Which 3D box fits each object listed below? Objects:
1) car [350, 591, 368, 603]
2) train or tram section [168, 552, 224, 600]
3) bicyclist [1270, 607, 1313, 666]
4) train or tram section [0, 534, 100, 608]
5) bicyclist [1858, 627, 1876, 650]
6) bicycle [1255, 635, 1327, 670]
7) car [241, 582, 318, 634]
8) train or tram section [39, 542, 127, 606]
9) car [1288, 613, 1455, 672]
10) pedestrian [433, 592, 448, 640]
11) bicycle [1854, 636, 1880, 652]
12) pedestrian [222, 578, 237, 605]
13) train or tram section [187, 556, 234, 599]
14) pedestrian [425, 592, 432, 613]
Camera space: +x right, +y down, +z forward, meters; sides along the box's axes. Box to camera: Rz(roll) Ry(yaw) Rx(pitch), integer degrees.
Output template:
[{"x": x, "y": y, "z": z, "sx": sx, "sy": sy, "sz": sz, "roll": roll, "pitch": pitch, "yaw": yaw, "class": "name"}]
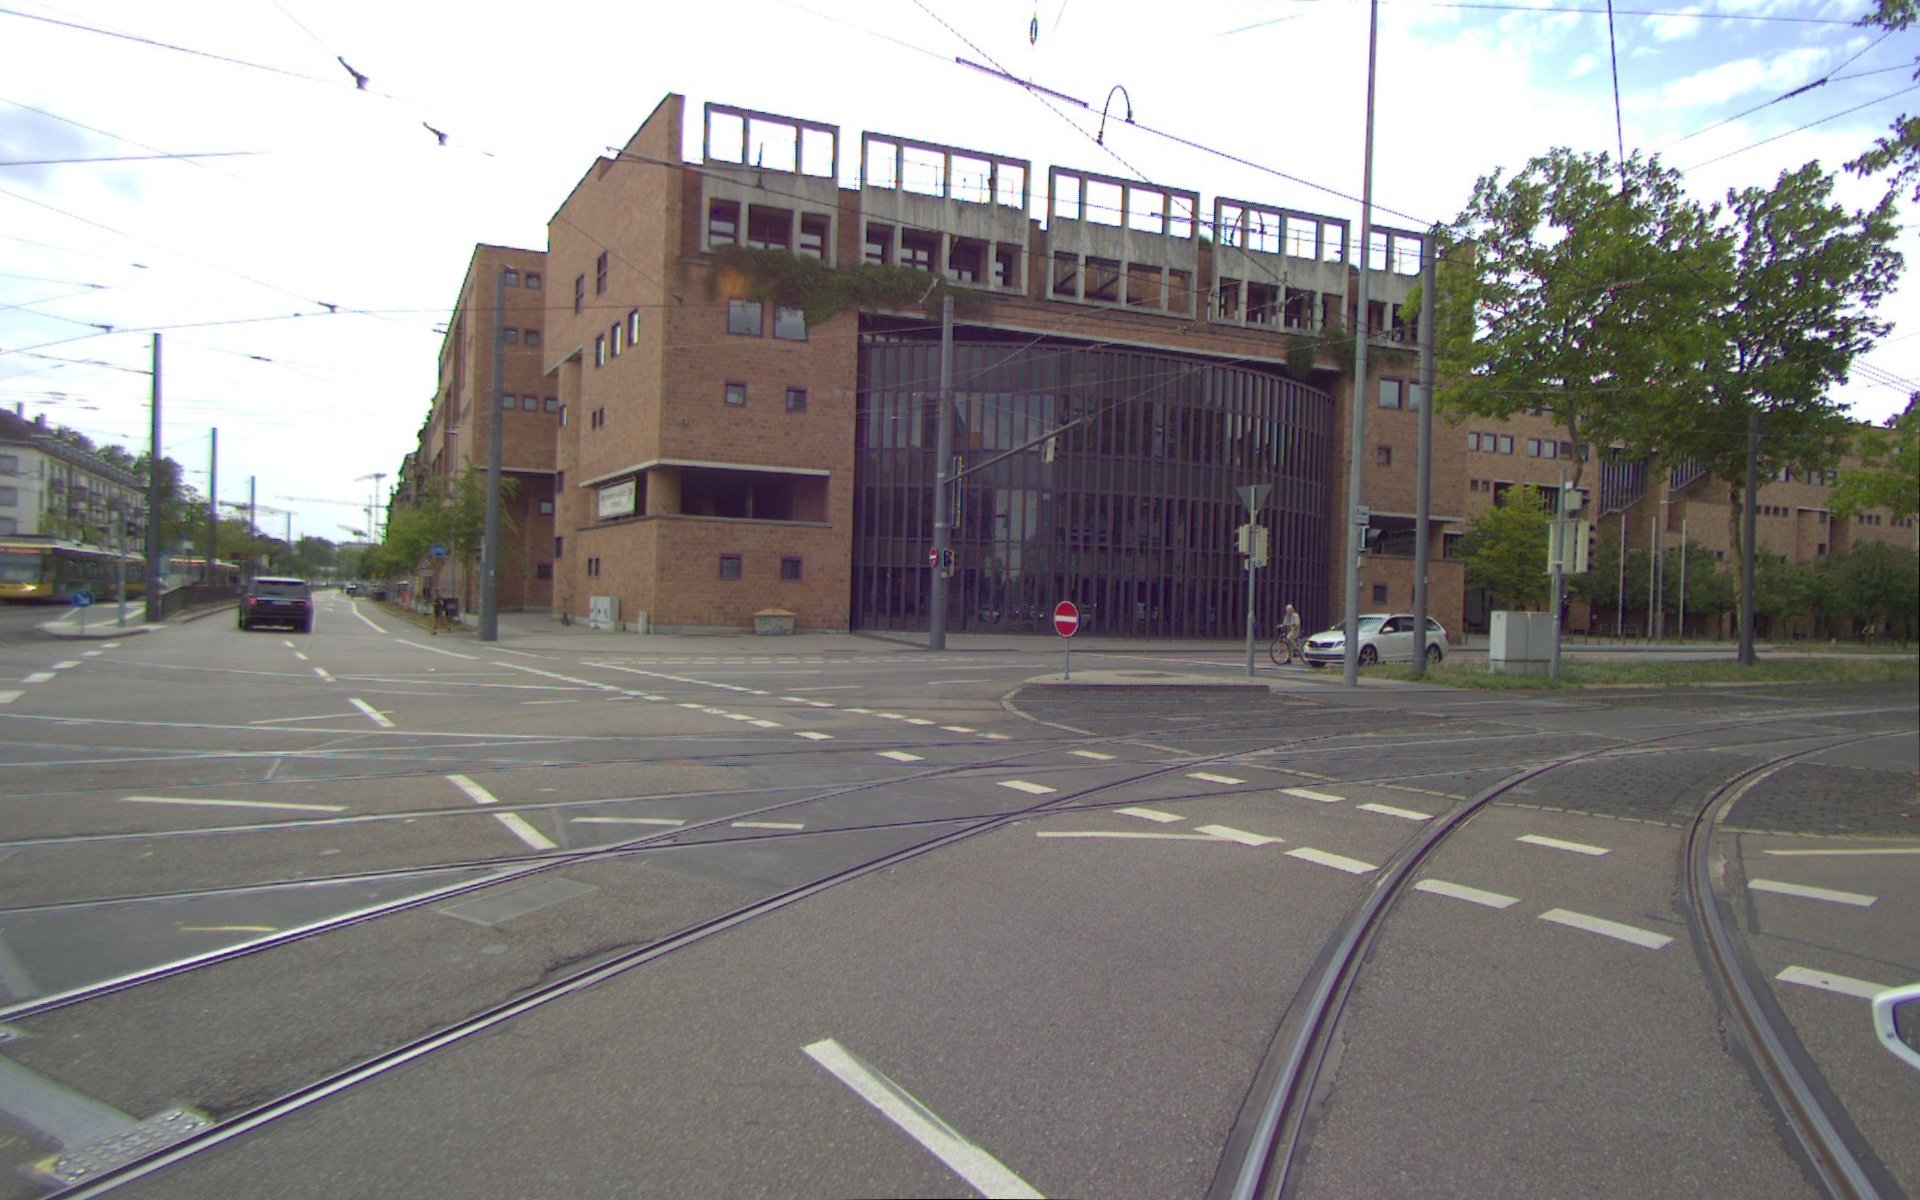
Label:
[{"x": -69.030, "y": -0.340, "z": 115.452, "sx": 1.676, "sy": 1.311, "sz": 3.967, "roll": 2, "pitch": 0, "yaw": -31, "class": "car"}, {"x": -60.677, "y": -1.830, "z": 79.913, "sx": 2.424, "sy": 3.497, "sz": 9.528, "roll": 1, "pitch": 0, "yaw": -31, "class": "train or tram section"}, {"x": 9.344, "y": 1.018, "z": 28.310, "sx": 0.891, "sy": 1.631, "sz": 0.719, "roll": 1, "pitch": 0, "yaw": -30, "class": "bicyclist"}, {"x": -47.628, "y": -1.396, "z": 52.389, "sx": 2.547, "sy": 3.497, "sz": 9.528, "roll": 1, "pitch": 0, "yaw": -31, "class": "train or tram section"}, {"x": 65.266, "y": 2.781, "z": 72.275, "sx": 0.971, "sy": 1.612, "sz": 0.661, "roll": 1, "pitch": 1, "yaw": -27, "class": "bicyclist"}, {"x": 9.341, "y": 1.455, "z": 28.320, "sx": 2.099, "sy": 0.929, "sz": 0.726, "roll": 1, "pitch": 0, "yaw": -31, "class": "bicycle"}, {"x": -23.012, "y": 0.251, "z": 34.118, "sx": 1.913, "sy": 1.629, "sz": 4.492, "roll": 2, "pitch": -1, "yaw": -32, "class": "car"}, {"x": -51.946, "y": -1.466, "z": 59.690, "sx": 2.547, "sy": 3.497, "sz": 7.559, "roll": 1, "pitch": 0, "yaw": -31, "class": "train or tram section"}, {"x": 11.116, "y": 1.120, "z": 27.023, "sx": 4.605, "sy": 1.440, "sz": 1.774, "roll": 1, "pitch": 0, "yaw": -31, "class": "car"}, {"x": -19.159, "y": 0.581, "z": 37.042, "sx": 0.454, "sy": 1.732, "sz": 0.479, "roll": 2, "pitch": 0, "yaw": -27, "class": "pedestrian"}, {"x": 65.316, "y": 3.170, "z": 72.316, "sx": 2.066, "sy": 1.099, "sz": 0.665, "roll": 1, "pitch": 0, "yaw": -27, "class": "bicycle"}, {"x": -55.882, "y": -0.677, "z": 76.862, "sx": 0.771, "sy": 2.040, "sz": 1.220, "roll": 1, "pitch": 0, "yaw": -30, "class": "pedestrian"}, {"x": -65.076, "y": -1.886, "z": 87.323, "sx": 2.415, "sy": 3.486, "sz": 8.097, "roll": 1, "pitch": 0, "yaw": -31, "class": "train or tram section"}, {"x": -44.717, "y": 0.195, "z": 84.547, "sx": 0.428, "sy": 1.732, "sz": 0.527, "roll": 2, "pitch": 0, "yaw": -34, "class": "pedestrian"}]
